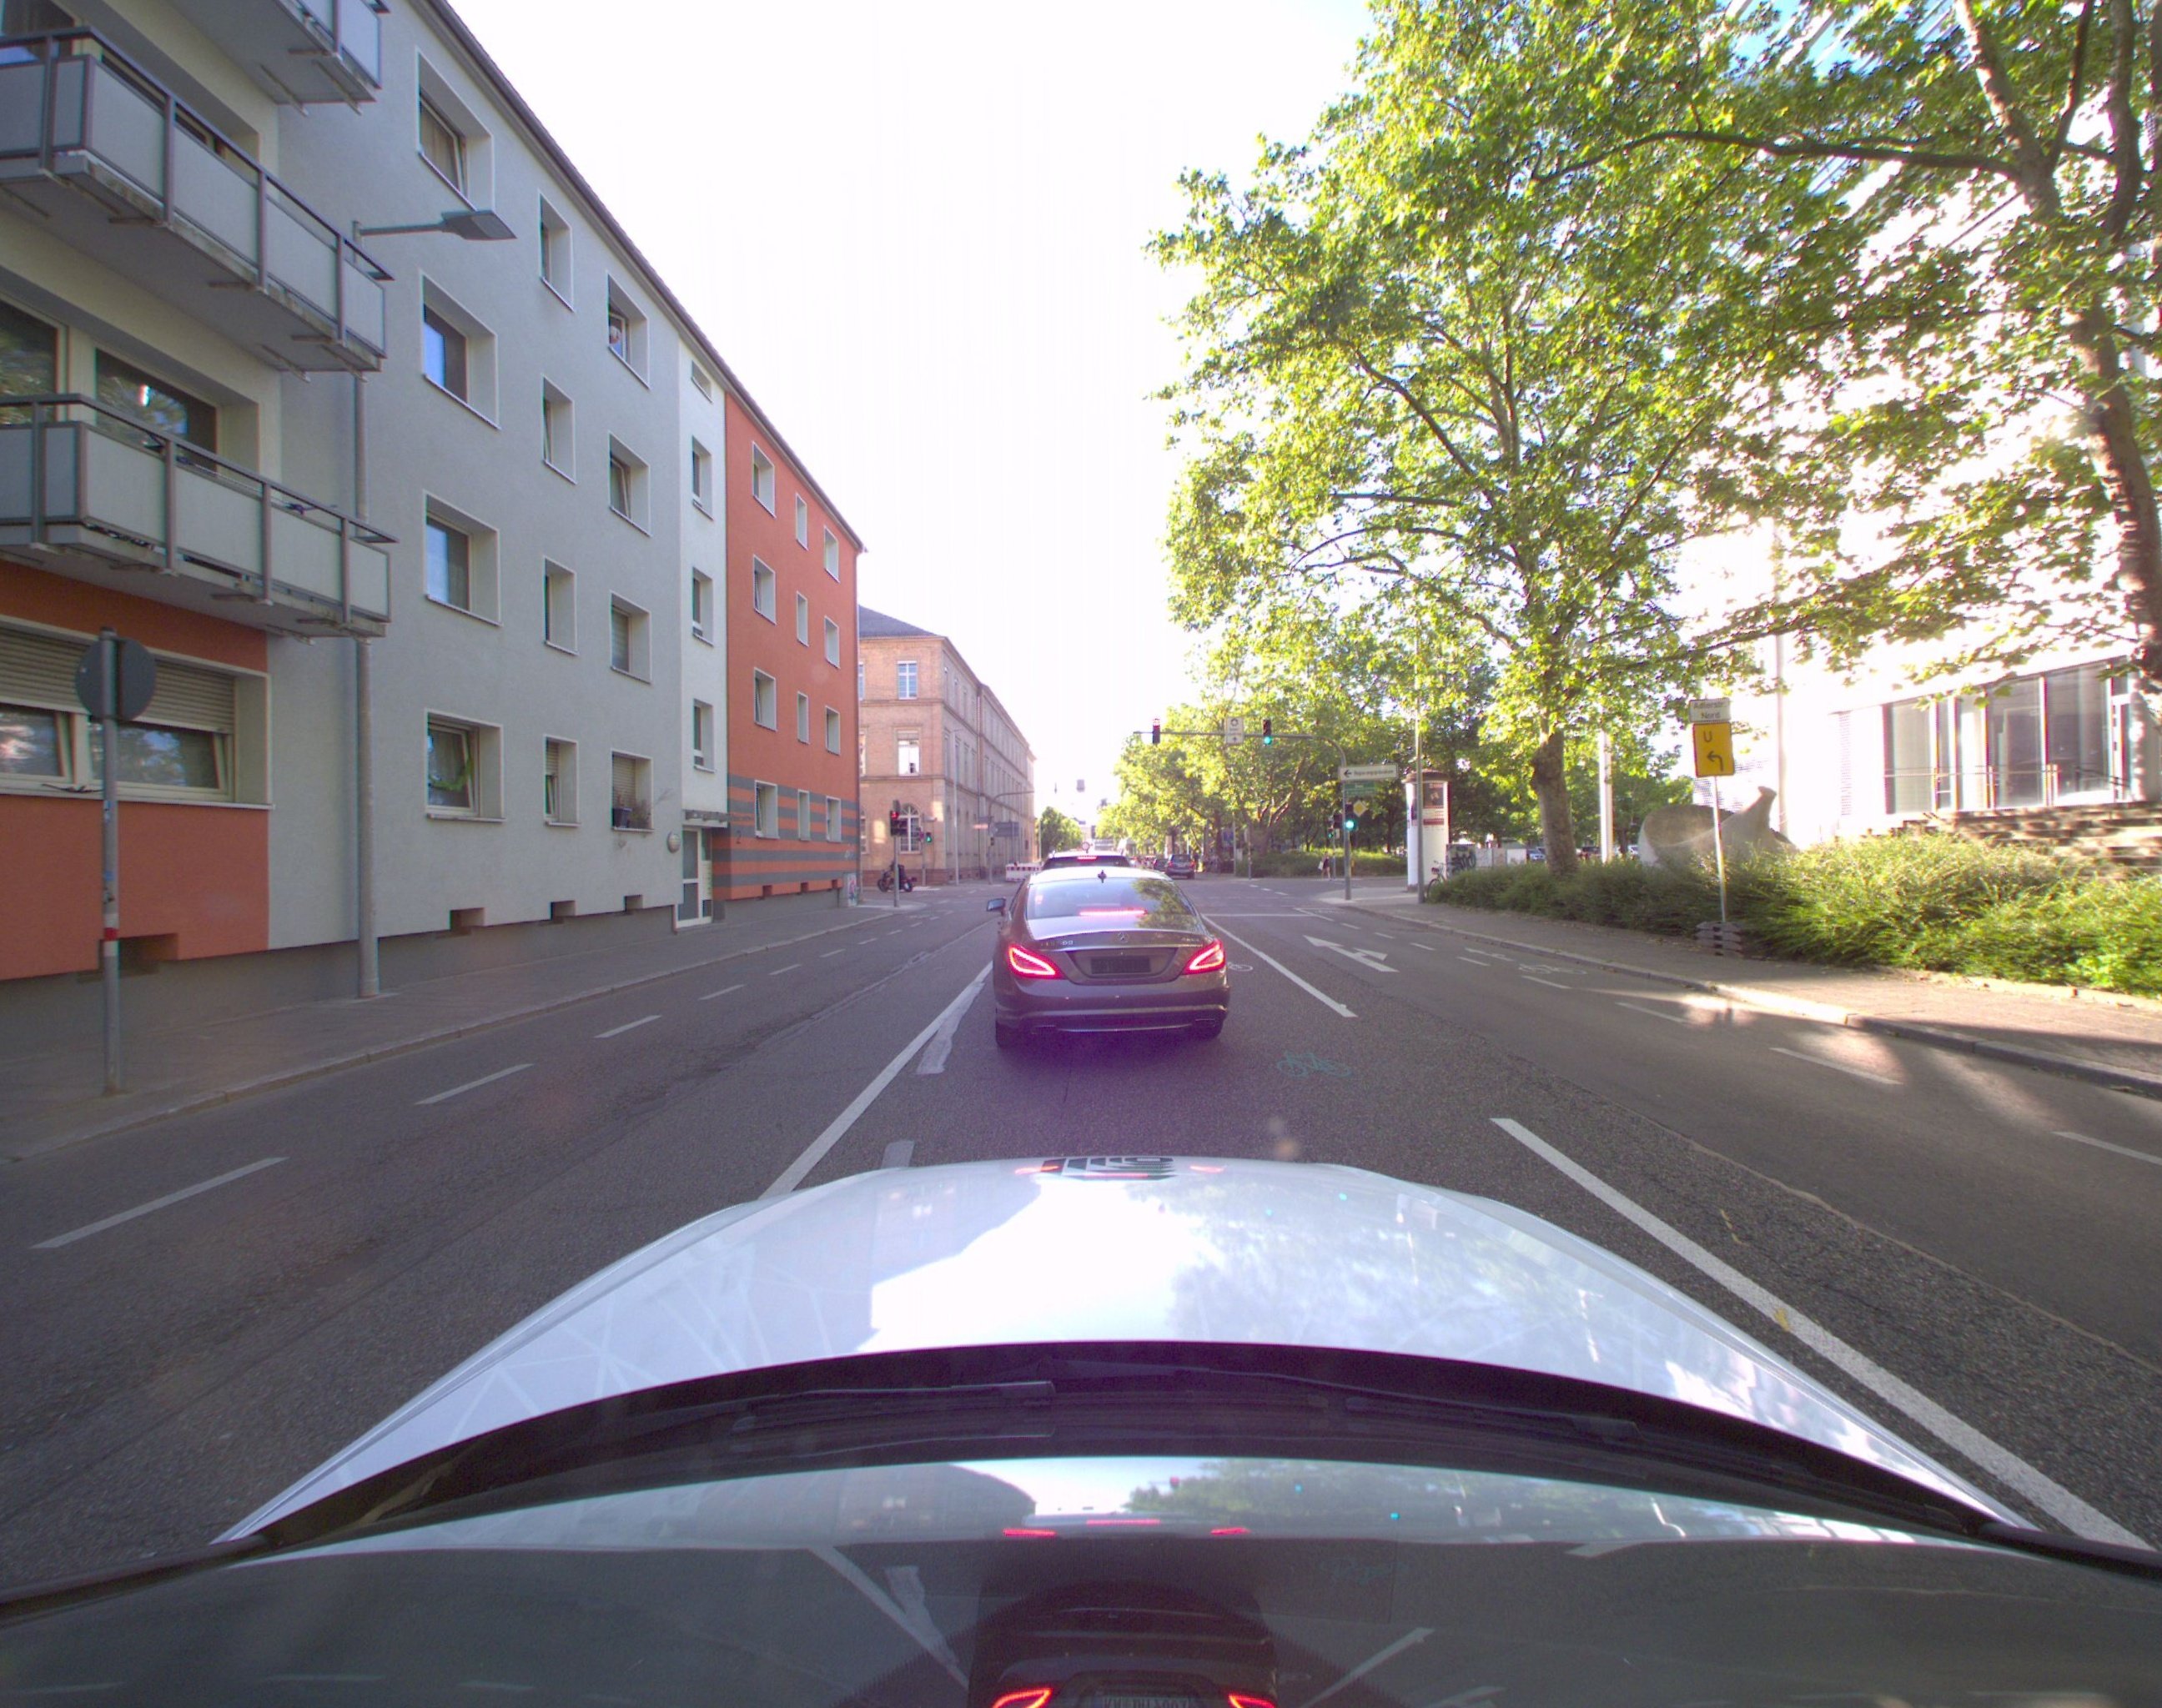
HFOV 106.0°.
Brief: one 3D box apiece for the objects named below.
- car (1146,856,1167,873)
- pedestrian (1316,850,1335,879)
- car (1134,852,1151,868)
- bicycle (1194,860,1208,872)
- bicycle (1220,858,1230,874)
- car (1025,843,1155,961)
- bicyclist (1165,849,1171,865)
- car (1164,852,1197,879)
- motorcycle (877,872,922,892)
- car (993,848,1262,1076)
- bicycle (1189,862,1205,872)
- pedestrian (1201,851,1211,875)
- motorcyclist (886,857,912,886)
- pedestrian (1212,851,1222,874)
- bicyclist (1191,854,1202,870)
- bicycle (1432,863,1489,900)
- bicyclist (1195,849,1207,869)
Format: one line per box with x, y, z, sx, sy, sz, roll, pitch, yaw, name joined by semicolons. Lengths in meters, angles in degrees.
7.119;0.929;76.653;1.698;1.519;4.002;-1;0;2;car
13.229;0.565;44.051;0.636;1.545;0.906;0;-1;-13;pedestrian
6.768;0.687;89.554;1.725;1.662;3.682;0;-1;2;car
9.711;0.978;65.824;0.825;0.924;2.618;0;0;2;bicycle
10.760;0.916;60.982;0.480;1.202;1.607;0;-1;2;bicycle
0.198;0.695;13.730;1.854;1.682;4.002;-1;0;2;car
11.228;0.386;105.009;0.593;2.039;0.566;0;-1;-3;bicyclist
6.820;0.764;56.170;1.854;1.764;4.483;-1;0;2;car
-8.291;1.276;37.188;2.033;0.892;0.760;-1;-1;31;motorcycle
0.150;0.736;7.595;1.859;1.519;3.992;-1;0;-6;car
9.915;1.093;69.618;0.716;0.791;1.940;-1;-1;30;bicycle
9.350;0.653;61.015;0.634;1.797;0.698;0;-1;-2;pedestrian
-8.318;0.778;37.207;0.792;1.294;0.794;-1;-1;30;motorcyclist
10.173;0.625;61.031;0.634;1.760;0.698;0;-1;-2;pedestrian
9.903;0.695;69.597;0.726;1.398;0.703;-1;-1;30;bicyclist
10.989;0.778;23.570;1.895;1.028;0.635;0;-1;-36;bicycle
9.695;0.406;65.882;0.822;1.618;0.958;0;-1;1;bicyclist
